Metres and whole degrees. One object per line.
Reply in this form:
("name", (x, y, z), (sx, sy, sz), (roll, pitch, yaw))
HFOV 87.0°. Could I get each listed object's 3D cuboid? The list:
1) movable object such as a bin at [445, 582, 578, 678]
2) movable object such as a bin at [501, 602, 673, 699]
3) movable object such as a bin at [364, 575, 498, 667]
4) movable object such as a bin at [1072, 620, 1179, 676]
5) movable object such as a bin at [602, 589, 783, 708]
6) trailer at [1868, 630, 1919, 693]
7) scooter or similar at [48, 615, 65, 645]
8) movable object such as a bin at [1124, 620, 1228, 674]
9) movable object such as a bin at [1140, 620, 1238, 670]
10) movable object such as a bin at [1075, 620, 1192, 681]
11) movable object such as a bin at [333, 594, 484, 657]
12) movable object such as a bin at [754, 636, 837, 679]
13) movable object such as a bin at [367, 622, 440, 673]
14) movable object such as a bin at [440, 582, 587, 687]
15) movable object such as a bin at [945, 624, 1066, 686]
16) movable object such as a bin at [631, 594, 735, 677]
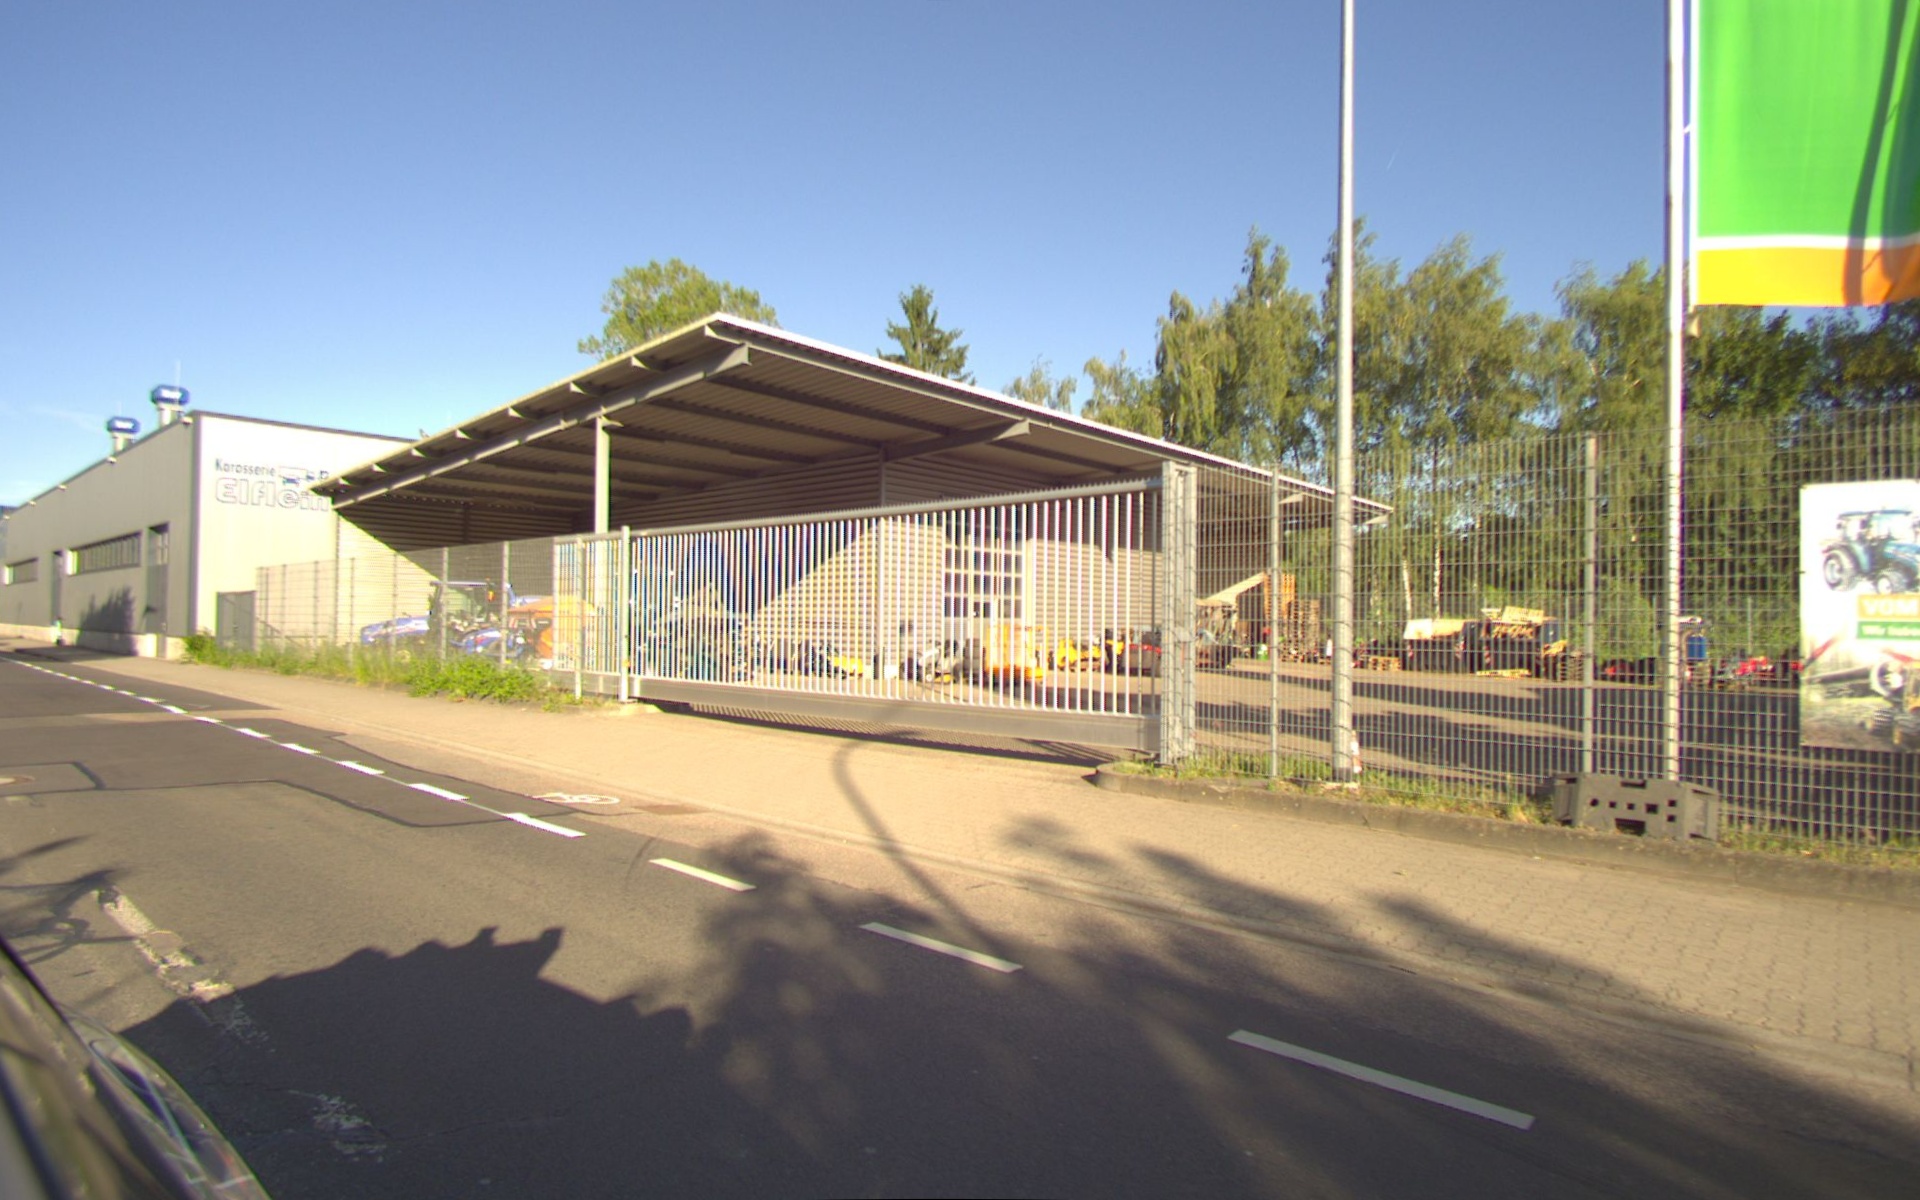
("movable object such as a bin", (-10.421, 0.703, 23.623), (2.752, 2.142, 1.389), (1, -2, -23))
("movable object such as a bin", (-7.664, 1.015, 20.956), (1.524, 1.849, 3.008), (-2, -3, 39))
("movable object such as a bin", (-13.085, 0.527, 25.185), (2.725, 2.181, 1.528), (0, -2, -19))
("movable object such as a bin", (4.684, 1.331, 28.771), (2.756, 1.502, 1.314), (-1, -2, 41))
("movable object such as a bin", (-4.851, 0.858, 18.262), (3.093, 1.949, 1.641), (-2, -3, 39))
("trailer", (25.561, 1.537, 25.453), (3.999, 1.601, 1.972), (-2, -3, 42))
("scooter or similar", (-38.808, 1.270, 43.477), (1.059, 1.277, 0.411), (-1, -2, 42))
("movable object such as a bin", (6.384, 1.365, 29.985), (2.756, 1.502, 1.314), (-1, -2, 41))
("movable object such as a bin", (7.248, 1.404, 32.071), (2.755, 1.502, 1.314), (0, -2, 40))
("movable object such as a bin", (4.536, 1.282, 26.584), (2.756, 1.502, 1.314), (-1, -2, 41))
("movable object such as a bin", (-14.837, 0.695, 27.398), (3.346, 1.625, 1.631), (0, -2, -19))
("movable object such as a bin", (-3.940, 1.364, 24.194), (1.728, 0.977, 1.090), (-2, -3, 39))
("movable object such as a bin", (-16.000, 1.354, 29.120), (1.324, 1.413, 1.454), (-2, -3, 39))
("movable object such as a bin", (-9.696, 0.743, 22.144), (2.839, 2.165, 1.504), (1, -2, -22))
("movable object such as a bin", (1.025, 1.256, 23.493), (2.633, 1.342, 1.155), (-2, -3, 39))
("movable object such as a bin", (-7.392, 0.955, 26.996), (2.476, 2.108, 1.560), (-2, -3, 39))
